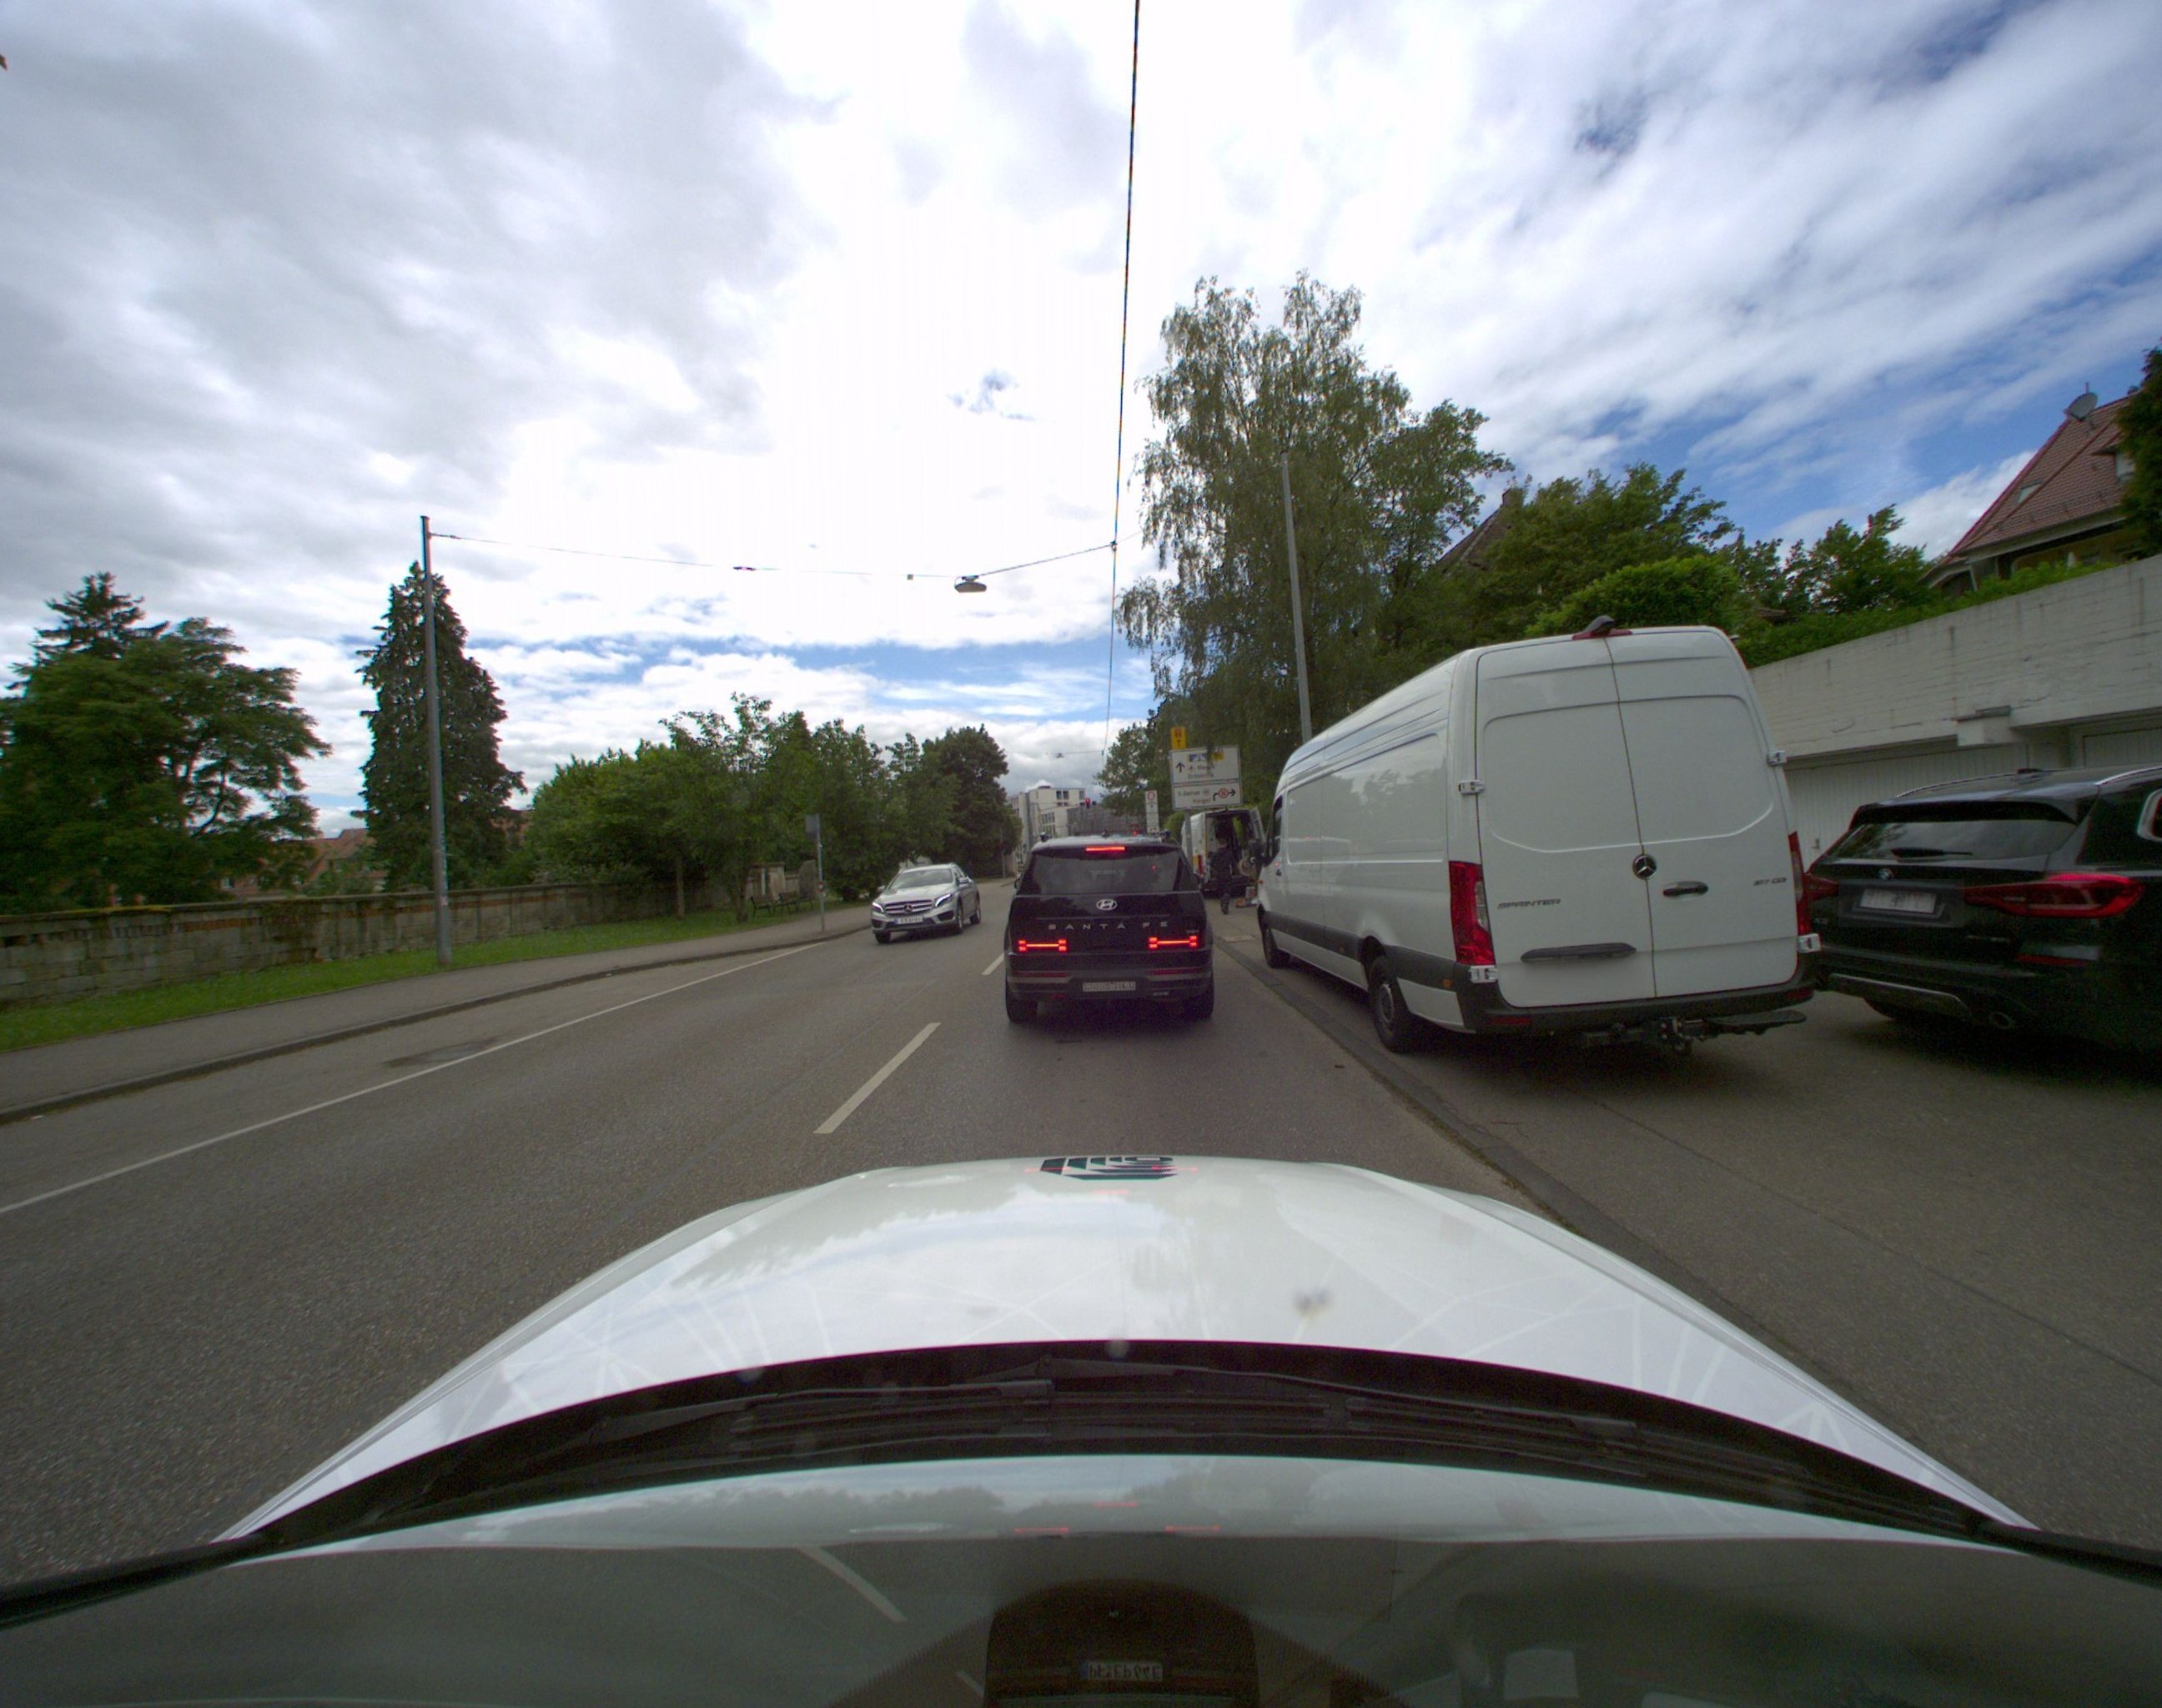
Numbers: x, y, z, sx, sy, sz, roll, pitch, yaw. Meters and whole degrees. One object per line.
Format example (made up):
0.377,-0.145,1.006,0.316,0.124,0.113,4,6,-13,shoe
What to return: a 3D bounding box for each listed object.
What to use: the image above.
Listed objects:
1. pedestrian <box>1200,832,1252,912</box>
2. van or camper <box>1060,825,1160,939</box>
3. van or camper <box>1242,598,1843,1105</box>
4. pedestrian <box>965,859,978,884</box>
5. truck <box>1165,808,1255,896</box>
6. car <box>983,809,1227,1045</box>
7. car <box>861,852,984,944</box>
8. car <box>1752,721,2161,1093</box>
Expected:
3.381,0.422,18.955,0.750,1.797,0.878,-3,-1,40,pedestrian
0.593,0.526,17.053,1.748,2.013,4.002,-3,0,2,van or camper
3.111,-0.010,7.639,1.986,2.620,6.543,-3,0,2,van or camper
-7.494,1.195,55.681,0.737,1.715,0.791,-3,0,-5,pedestrian
4.229,-0.034,27.678,1.937,2.561,5.213,-5,-1,-1,truck
0.253,0.581,8.449,1.883,1.819,4.002,-1,0,2,car
-3.377,0.885,18.167,1.779,1.653,4.120,-5,0,0,car
6.839,0.153,4.669,4.398,1.750,1.739,-3,0,3,car
